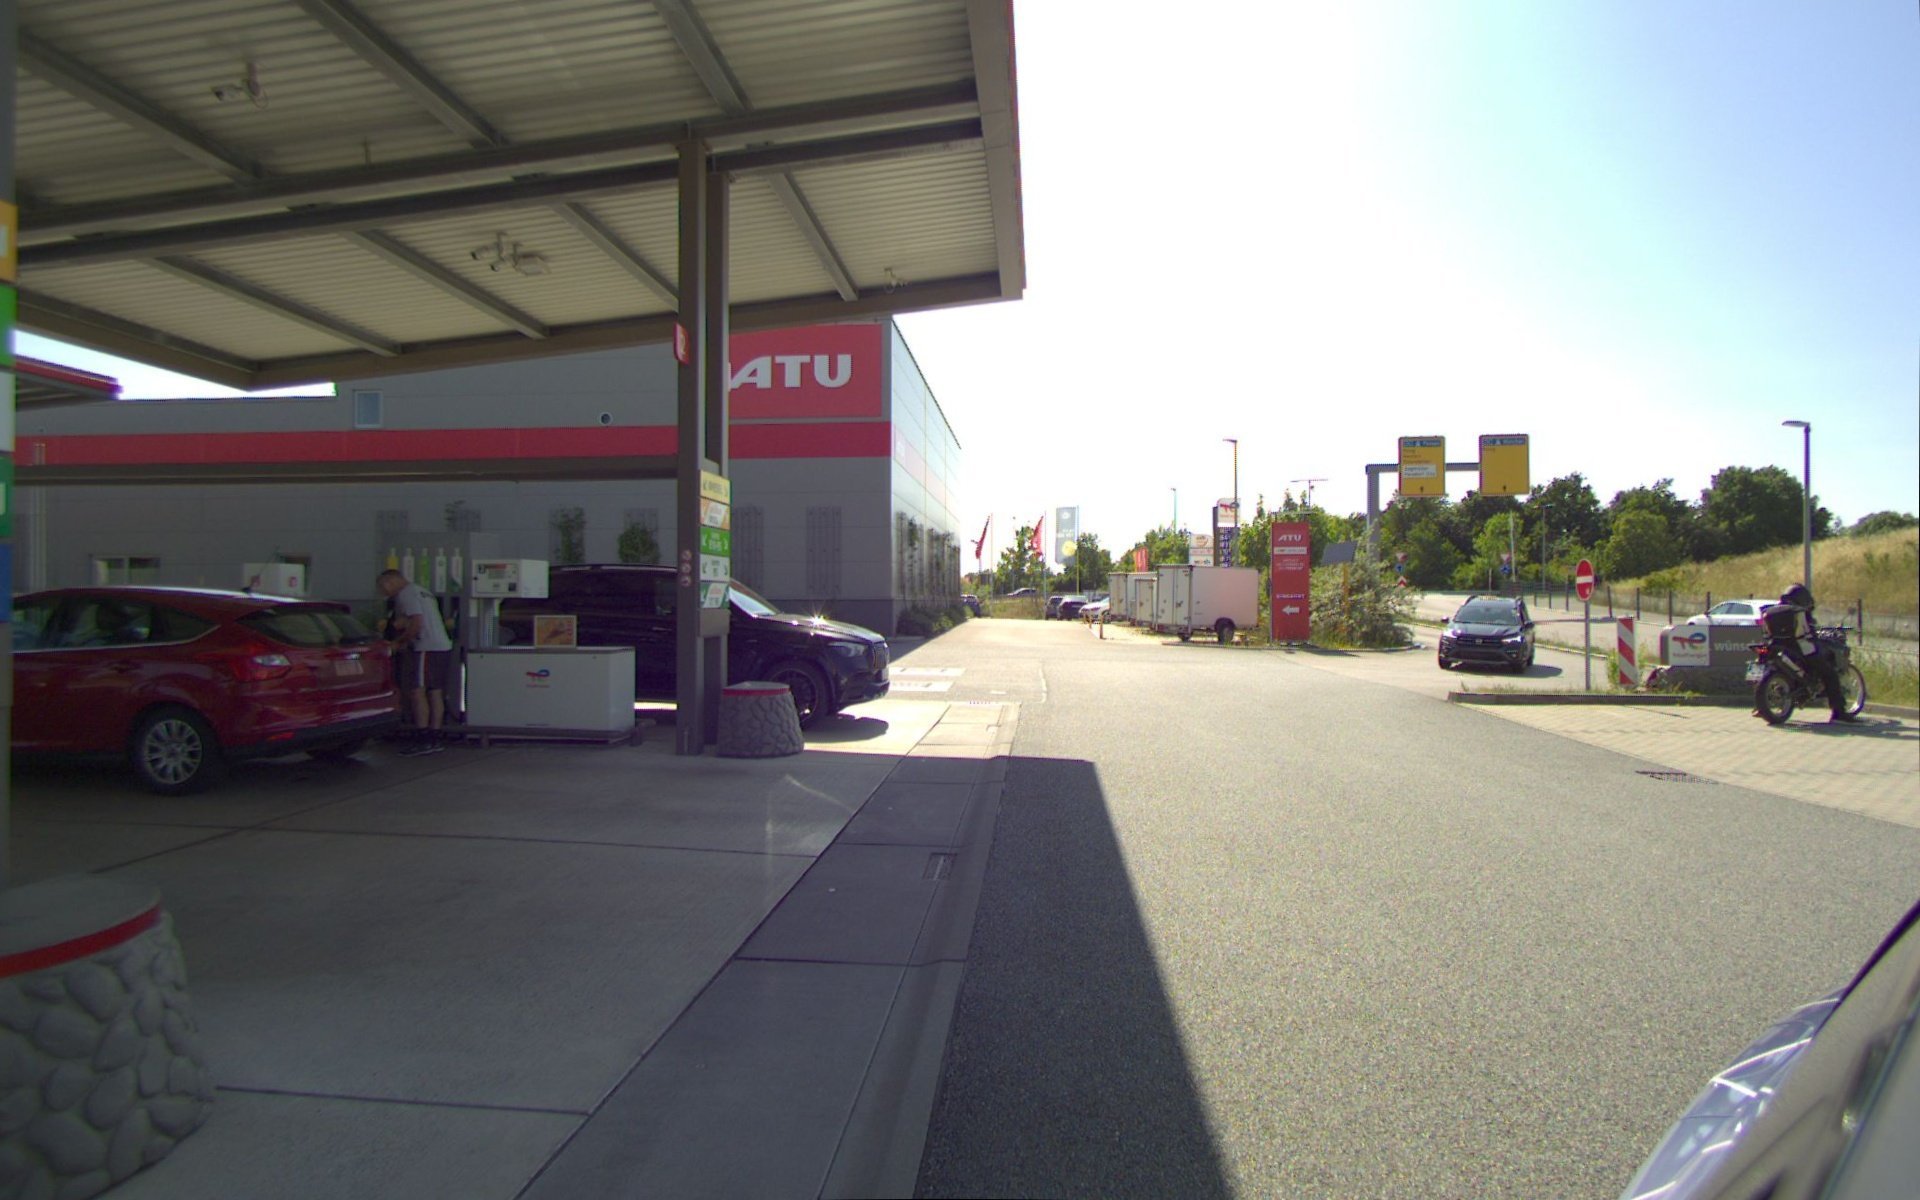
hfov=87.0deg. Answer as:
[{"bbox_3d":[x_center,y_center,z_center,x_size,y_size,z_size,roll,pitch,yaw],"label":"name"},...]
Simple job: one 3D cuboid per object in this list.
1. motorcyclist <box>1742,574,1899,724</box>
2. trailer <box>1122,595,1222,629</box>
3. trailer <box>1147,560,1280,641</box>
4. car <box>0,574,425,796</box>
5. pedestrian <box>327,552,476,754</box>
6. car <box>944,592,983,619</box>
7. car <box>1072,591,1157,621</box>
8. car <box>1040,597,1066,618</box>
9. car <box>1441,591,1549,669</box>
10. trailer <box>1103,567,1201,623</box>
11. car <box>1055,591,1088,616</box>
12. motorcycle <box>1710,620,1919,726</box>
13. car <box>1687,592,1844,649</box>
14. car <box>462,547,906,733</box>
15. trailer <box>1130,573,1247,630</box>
[{"bbox_3d":[10.385,0.558,12.244,1.076,1.709,1.037,1,0,-19],"label":"motorcyclist"},{"bbox_3d":[8.526,0.498,40.793,3.640,1.297,1.582,1,0,-19],"label":"trailer"},{"bbox_3d":[8.219,0.002,32.744,3.921,2.458,2.001,1,0,-33],"label":"trailer"},{"bbox_3d":[-6.703,0.554,7.964,4.158,1.487,1.702,1,0,5],"label":"car"},{"bbox_3d":[-4.995,0.450,9.089,0.912,1.724,0.702,1,0,6],"label":"pedestrian"},{"bbox_3d":[0.191,0.334,63.793,1.646,1.561,3.843,1,1,-12],"label":"car"},{"bbox_3d":[7.395,0.287,48.374,3.757,1.334,1.684,1,1,-28],"label":"car"},{"bbox_3d":[6.271,0.459,67.711,1.653,1.319,3.718,1,0,6],"label":"car"},{"bbox_3d":[12.826,0.648,24.117,1.733,1.665,4.573,1,0,35],"label":"car"},{"bbox_3d":[8.750,-0.228,46.270,3.916,2.458,2.004,1,0,-22],"label":"trailer"},{"bbox_3d":[6.277,0.192,57.425,1.651,1.334,3.832,1,1,3],"label":"car"},{"bbox_3d":[10.452,0.838,12.258,2.365,1.120,1.048,0,1,-19],"label":"motorcycle"},{"bbox_3d":[23.628,0.542,29.911,1.678,1.441,4.088,1,2,7],"label":"car"},{"bbox_3d":[-3.146,0.409,12.153,4.713,1.874,2.031,2,0,5],"label":"car"},{"bbox_3d":[8.622,0.072,38.180,3.915,2.039,1.807,1,0,-19],"label":"trailer"}]
